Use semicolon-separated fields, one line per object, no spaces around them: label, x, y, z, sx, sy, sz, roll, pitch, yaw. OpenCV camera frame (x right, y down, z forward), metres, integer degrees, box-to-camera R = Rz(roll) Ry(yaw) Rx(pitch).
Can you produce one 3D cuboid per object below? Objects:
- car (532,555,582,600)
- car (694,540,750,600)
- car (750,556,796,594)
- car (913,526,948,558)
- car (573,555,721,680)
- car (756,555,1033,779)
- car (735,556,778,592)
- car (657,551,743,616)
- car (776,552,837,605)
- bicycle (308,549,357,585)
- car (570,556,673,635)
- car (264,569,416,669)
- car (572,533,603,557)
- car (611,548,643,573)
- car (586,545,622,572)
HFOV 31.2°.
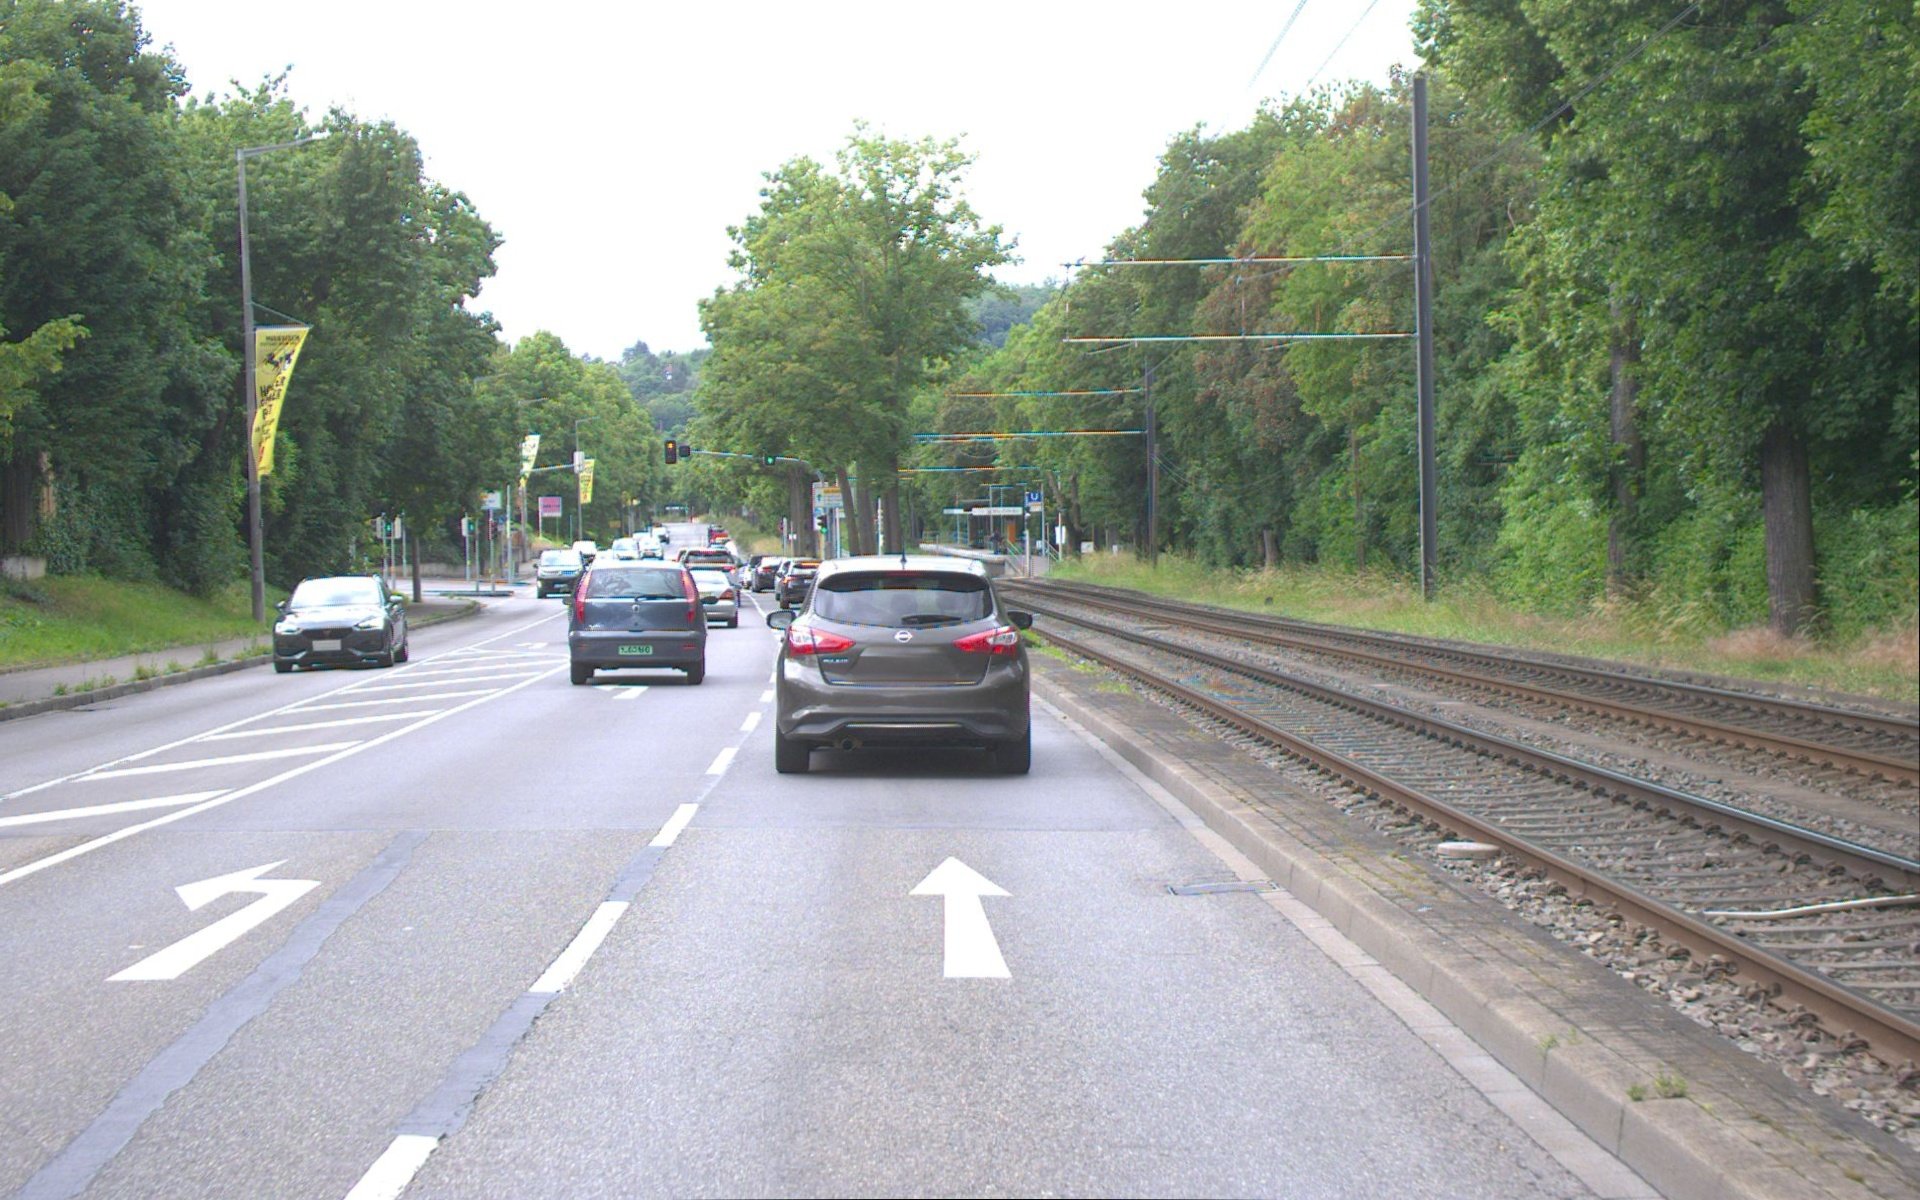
car;-16.047;-0.911;136.922;1.715;1.754;4.000;0;0;-3
car;-7.434;-0.934;107.546;1.715;1.857;4.000;0;0;-3
car;-7.624;-1.014;140.081;1.715;1.545;4.000;0;0;-1
car;-1.605;-3.089;184.137;1.715;1.657;3.708;0;0;-3
car;-3.809;0.181;42.307;1.699;1.438;4.001;0;1;-4
car;-0.450;0.428;24.979;1.850;1.488;4.000;0;1;0
car;-8.908;-1.138;150.864;1.715;1.545;4.000;0;0;-1
car;-5.879;-0.372;78.055;1.715;1.430;4.000;0;0;-1
car;-4.567;-0.639;102.544;1.715;1.545;4.000;0;0;-1
bicycle;-19.983;-1.053;109.467;0.499;1.104;1.797;0;1;30
car;-6.324;-0.089;64.521;1.715;1.430;4.000;0;0;-3
car;-9.587;0.260;53.443;1.841;1.371;4.448;-3;1;-5
car;-25.205;-3.698;232.505;1.715;1.545;4.000;0;0;-1
car;-21.189;-2.485;218.680;1.715;1.545;4.000;0;0;-1
car;-20.551;-2.404;198.561;1.715;1.545;4.000;0;0;-1
